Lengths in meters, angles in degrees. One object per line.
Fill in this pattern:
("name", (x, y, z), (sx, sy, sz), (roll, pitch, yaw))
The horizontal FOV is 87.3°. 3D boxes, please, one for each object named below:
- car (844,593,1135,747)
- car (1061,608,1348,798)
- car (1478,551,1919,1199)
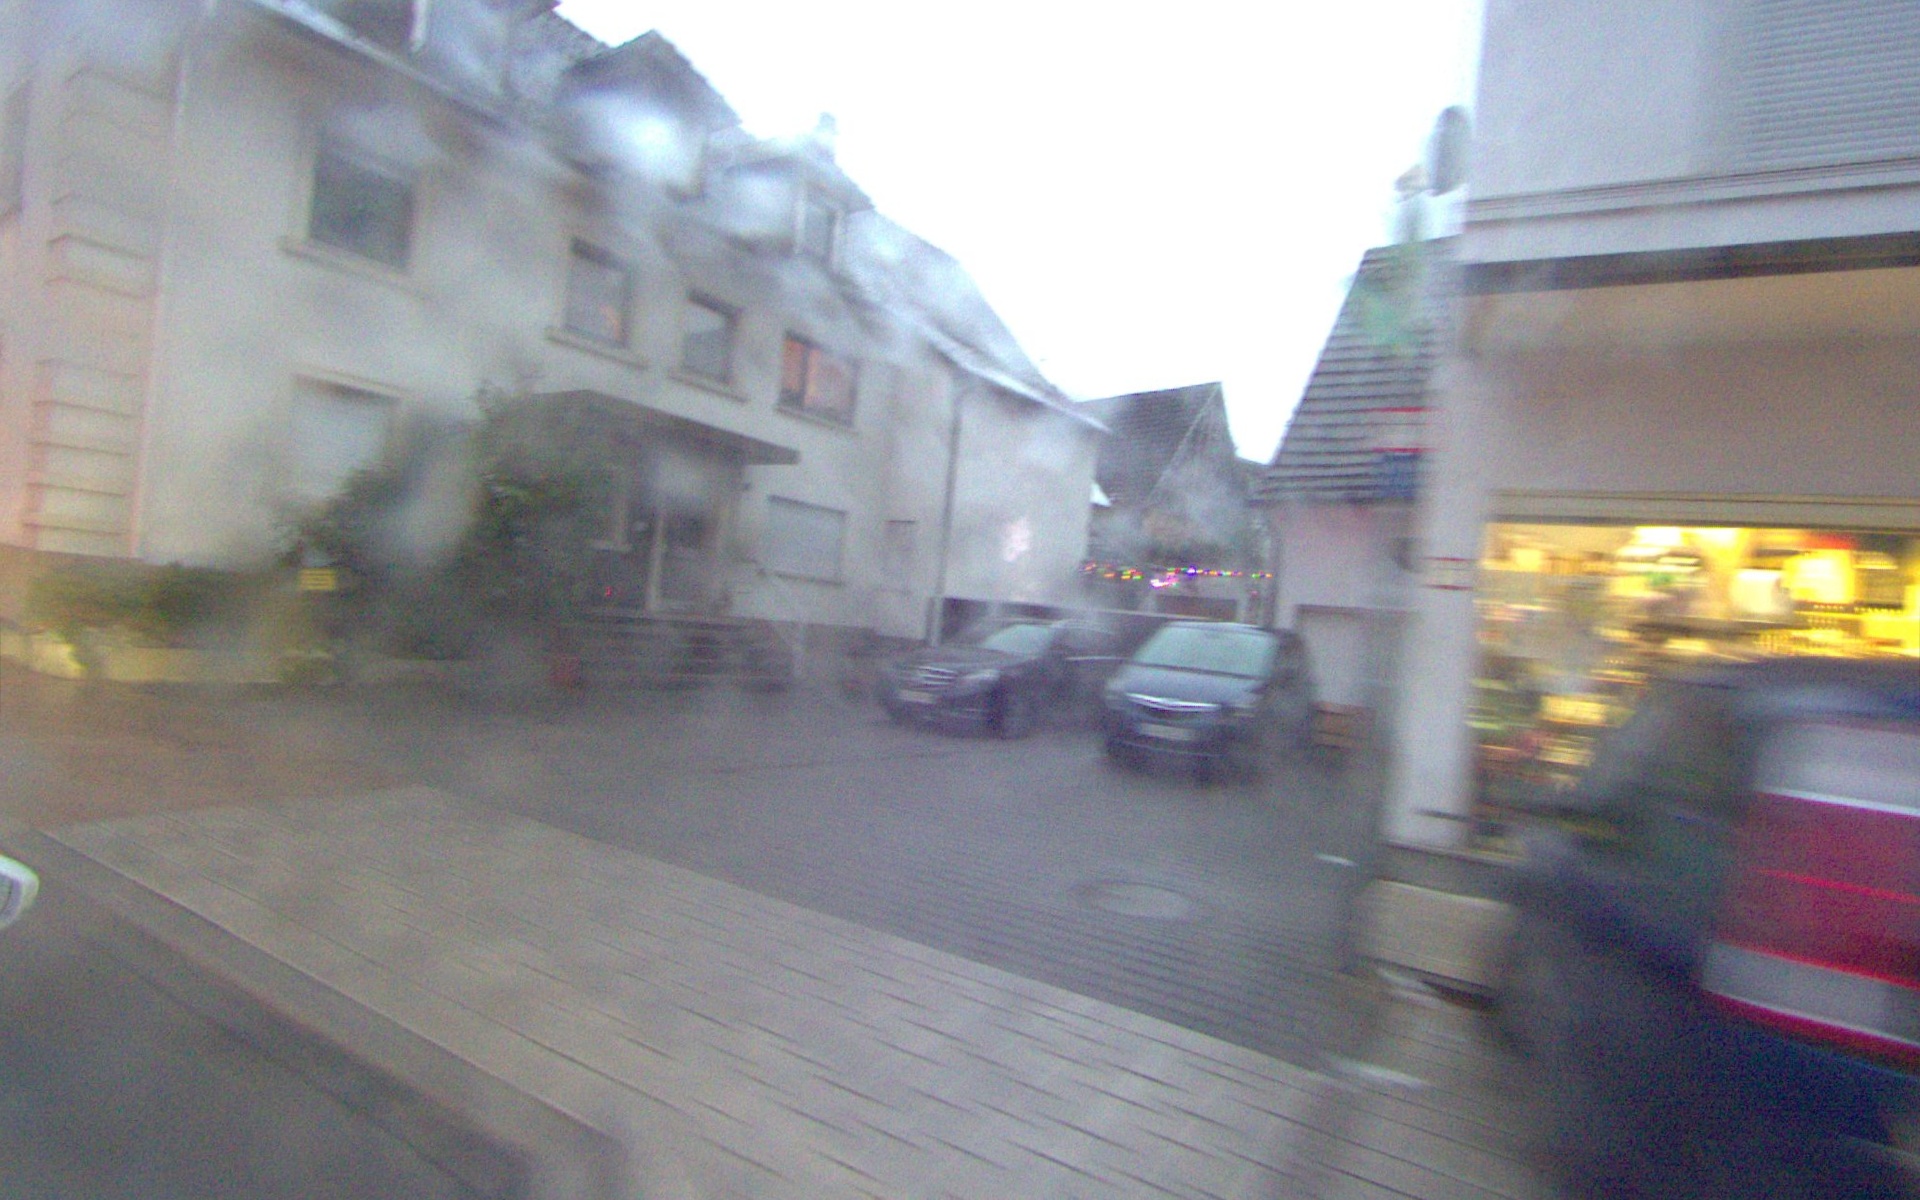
("car", (0.554, 0.901, 13.149), (1.905, 1.542, 3.991), (6, -1, 33))
("car", (2.966, 1.100, 11.503), (1.967, 1.589, 3.992), (6, -1, 31))
("car", (2.393, 0.941, 2.581), (1.652, 1.598, 3.879), (6, -1, 26))
